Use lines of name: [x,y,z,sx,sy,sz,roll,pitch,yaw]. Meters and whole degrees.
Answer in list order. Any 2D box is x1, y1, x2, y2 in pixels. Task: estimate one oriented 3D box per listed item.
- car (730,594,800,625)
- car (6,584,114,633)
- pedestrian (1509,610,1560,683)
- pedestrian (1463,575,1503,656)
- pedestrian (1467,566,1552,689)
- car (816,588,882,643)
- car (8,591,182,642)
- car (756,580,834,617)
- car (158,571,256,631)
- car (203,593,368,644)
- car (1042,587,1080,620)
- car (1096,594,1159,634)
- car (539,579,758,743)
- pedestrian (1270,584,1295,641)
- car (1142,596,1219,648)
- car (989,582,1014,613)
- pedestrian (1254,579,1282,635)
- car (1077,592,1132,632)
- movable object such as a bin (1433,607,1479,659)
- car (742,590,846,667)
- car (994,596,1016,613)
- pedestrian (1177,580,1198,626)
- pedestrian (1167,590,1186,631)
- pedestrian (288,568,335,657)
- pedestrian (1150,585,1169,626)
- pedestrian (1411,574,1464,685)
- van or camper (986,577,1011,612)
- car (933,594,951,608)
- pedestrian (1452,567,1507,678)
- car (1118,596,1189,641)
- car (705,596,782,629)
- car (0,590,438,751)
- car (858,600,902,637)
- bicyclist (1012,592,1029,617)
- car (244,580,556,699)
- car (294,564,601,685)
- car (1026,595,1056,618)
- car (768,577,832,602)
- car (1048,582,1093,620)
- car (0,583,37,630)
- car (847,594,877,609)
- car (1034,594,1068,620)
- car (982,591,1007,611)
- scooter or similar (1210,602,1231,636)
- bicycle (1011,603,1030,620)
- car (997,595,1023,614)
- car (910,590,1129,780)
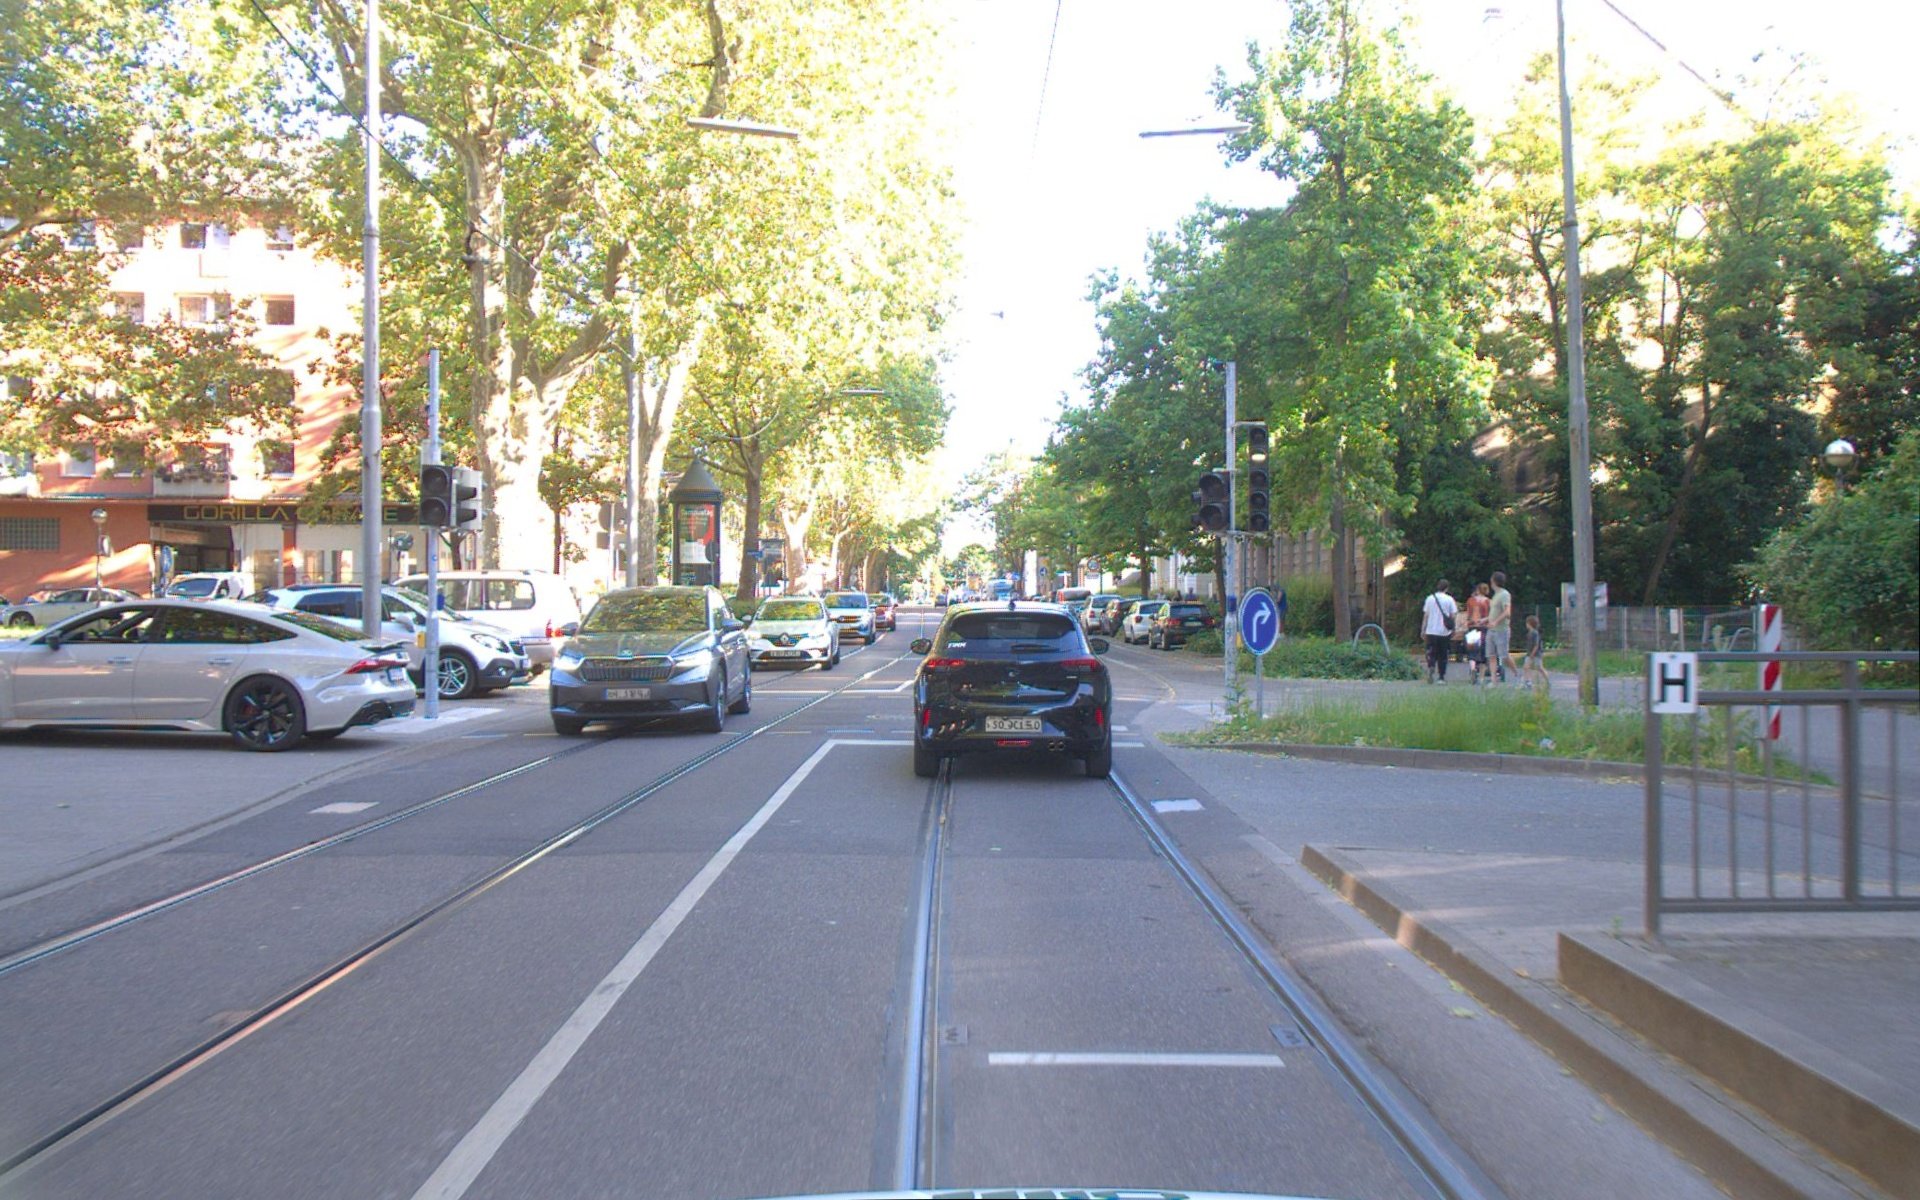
car: [-9.980,0.485,84.820,3.349,1.490,1.759,1,0,1]
car: [-32.091,0.297,59.110,1.908,1.646,4.475,1,0,-8]
pedestrian: [9.229,0.743,26.571,0.660,1.138,0.660,1,0,10]
pedestrian: [11.452,0.347,36.231,0.607,1.756,0.552,1,0,-17]
pedestrian: [8.718,0.430,26.271,0.854,1.918,0.992,1,0,-19]
car: [-3.366,0.466,50.840,1.779,1.596,4.115,-1,0,-1]
car: [-26.712,0.505,51.217,4.386,1.475,1.820,1,0,-10]
car: [-10.673,-0.084,107.187,4.934,2.299,2.084,1,0,-5]
car: [-26.669,0.035,58.728,1.957,2.038,4.908,1,0,-10]
car: [-21.206,0.576,52.146,4.441,1.515,1.857,1,0,-7]
car: [5.821,0.202,95.799,1.847,1.797,4.677,0,0,-1]
car: [6.686,0.551,66.454,1.846,1.492,4.591,-2,0,-3]
car: [-3.499,0.634,19.343,1.870,1.666,4.318,-1,0,-2]
pedestrian: [10.356,0.400,53.121,0.587,1.824,0.728,1,0,-4]
car: [6.687,0.653,50.449,1.639,1.437,3.841,-2,0,-3]
car: [3.883,-0.267,153.943,2.043,2.820,4.696,-1,0,-1]
pedestrian: [10.036,0.230,53.888,0.589,1.824,0.725,1,-1,38]
car: [6.193,0.502,71.184,1.846,1.595,4.241,-2,0,-1]
movable object such as a bin: [11.166,0.728,37.259,0.653,1.146,0.955,1,0,-9]
car: [-3.399,0.557,34.500,1.739,1.486,4.203,1,0,-1]
car: [3.987,0.398,146.739,1.767,1.459,3.998,-1,-1,-1]
pedestrian: [9.161,0.108,66.584,0.711,1.824,0.600,1,0,-4]
pedestrian: [9.311,0.446,71.015,0.711,1.739,0.856,1,0,3]
pedestrian: [-13.712,0.267,34.960,0.630,1.841,0.752,1,0,4]
pedestrian: [8.550,0.243,70.912,0.711,1.722,0.957,1,0,4]
pedestrian: [8.032,0.486,27.833,0.710,1.824,0.854,-2,0,9]
van or camper: [3.718,-0.540,160.506,2.208,3.272,5.529,-1,0,-1]
car: [-2.556,0.117,230.742,2.210,1.873,5.526,-1,0,-4]
pedestrian: [8.740,0.369,27.851,0.710,1.824,0.969,-2,0,9]
car: [6.623,0.617,57.079,1.846,1.391,4.106,-2,0,-1]
car: [-10.109,0.590,77.328,3.349,1.490,1.697,1,0,1]
car: [-7.907,0.678,16.726,4.672,1.486,1.952,1,0,-6]
car: [-3.306,0.756,68.823,1.627,1.469,3.473,1,0,-1]
bicyclist: [3.716,0.277,102.301,0.939,1.525,1.093,1,0,-3]
car: [-8.384,0.584,25.045,4.056,1.675,1.901,1,0,-3]
car: [-8.404,0.403,27.446,4.479,1.866,1.937,1,0,-3]
car: [5.402,0.418,110.680,1.668,1.448,3.977,-3,0,-1]
car: [-10.642,-0.686,110.297,4.214,1.635,1.924,1,0,-4]
car: [5.760,0.052,86.841,1.846,1.883,4.966,-2,0,-1]
car: [-34.715,0.205,58.676,1.908,1.646,4.475,1,0,-8]
car: [-13.539,0.222,228.477,3.903,2.049,2.001,1,0,5]
car: [5.570,0.441,101.897,1.677,1.540,4.034,-2,0,-3]
car: [3.470,0.094,167.696,2.208,1.873,5.529,-1,0,-1]
scooter or similar: [9.976,0.714,63.420,0.564,1.268,1.335,1,0,0]
bicycle: [3.715,0.705,102.323,0.948,1.016,2.582,1,0,-3]
car: [4.086,0.366,136.443,1.846,1.459,4.529,-2,0,-1]
car: [0.439,0.677,15.135,1.727,1.486,3.949,1,0,-1]
